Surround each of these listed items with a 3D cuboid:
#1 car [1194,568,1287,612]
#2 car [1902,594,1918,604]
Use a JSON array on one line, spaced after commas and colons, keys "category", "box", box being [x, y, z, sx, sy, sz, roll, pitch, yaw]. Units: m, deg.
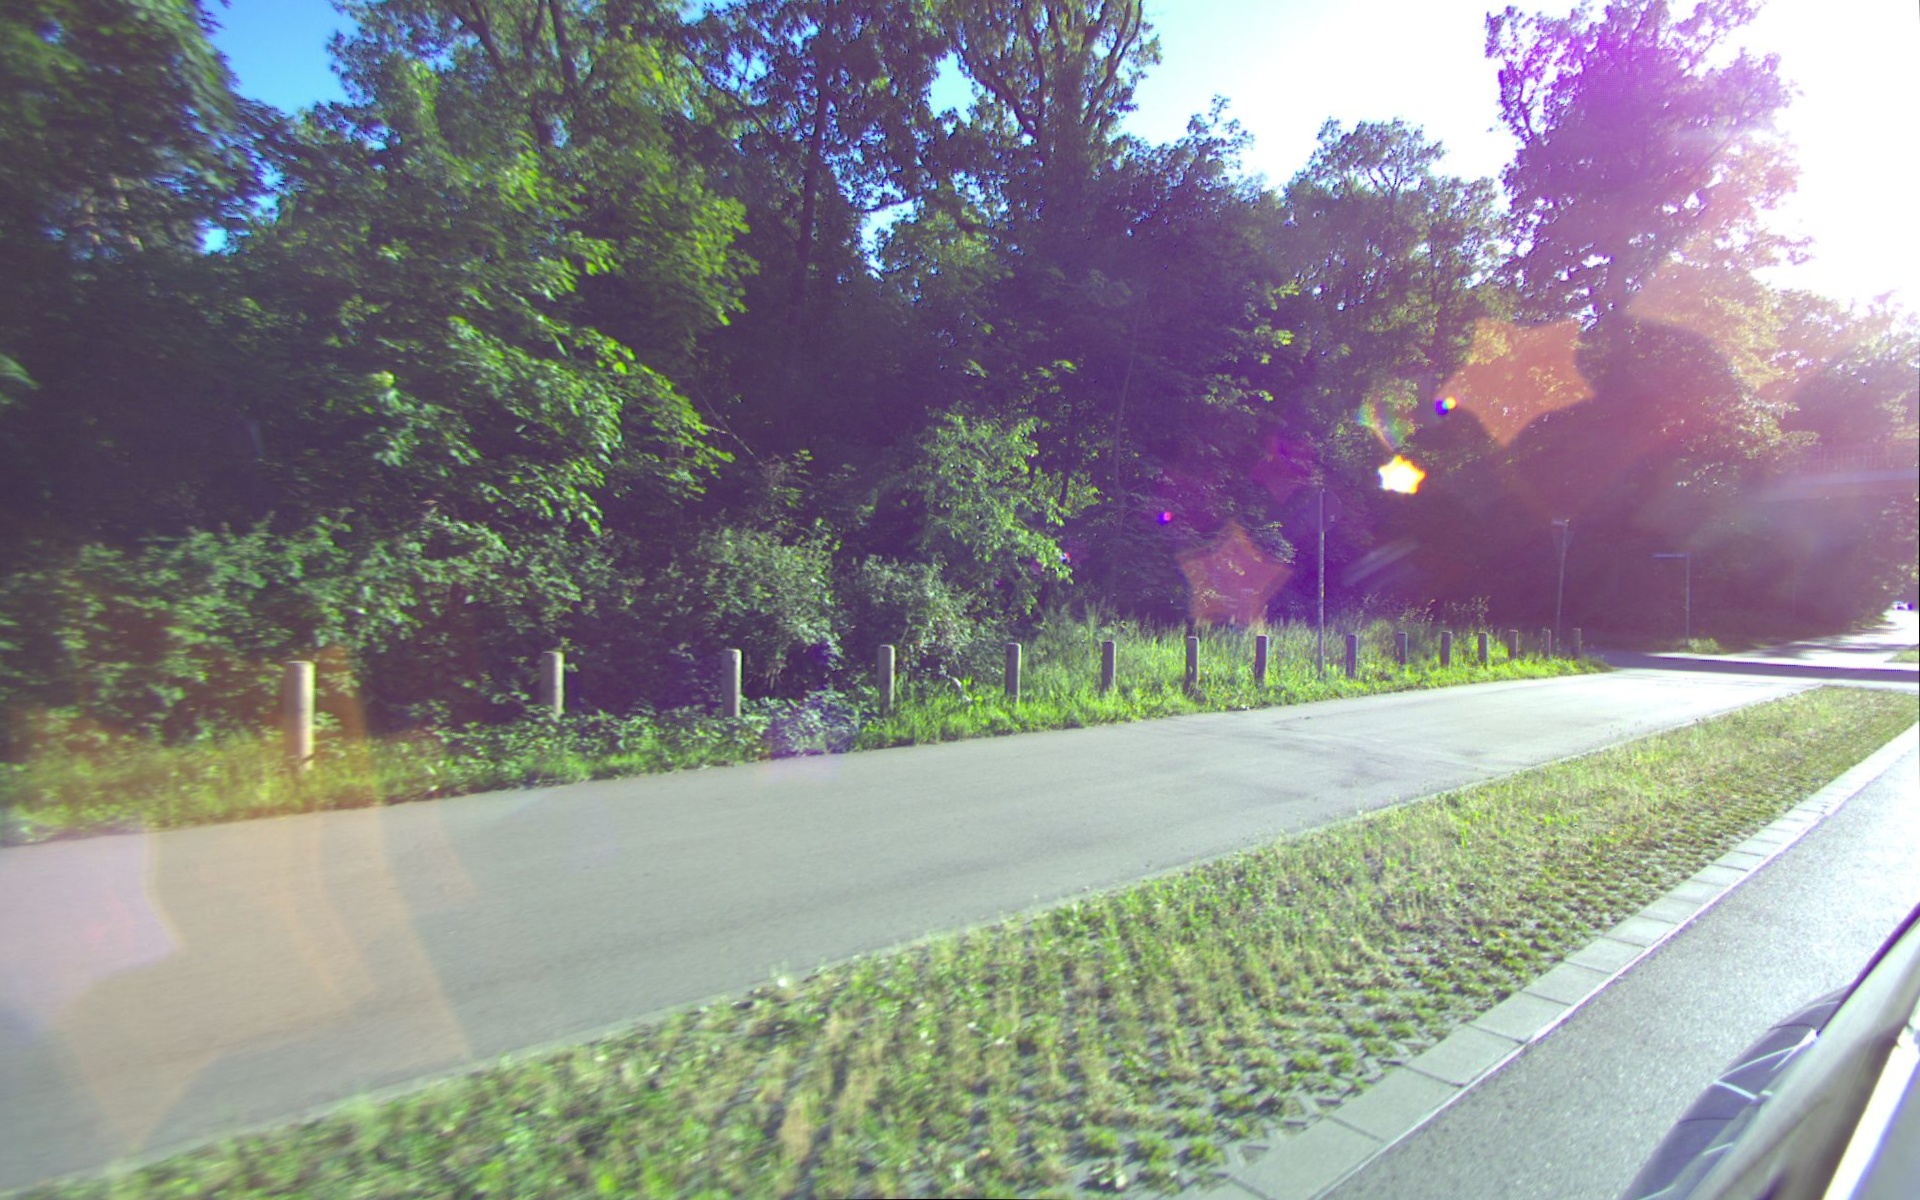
[{"category": "car", "box": [10.551, -0.364, 37.948, 1.736, 1.544, 3.938, 1, 1, 43]}, {"category": "car", "box": [169.997, -0.220, 181.106, 1.819, 1.705, 3.942, 1, 1, 40]}]
